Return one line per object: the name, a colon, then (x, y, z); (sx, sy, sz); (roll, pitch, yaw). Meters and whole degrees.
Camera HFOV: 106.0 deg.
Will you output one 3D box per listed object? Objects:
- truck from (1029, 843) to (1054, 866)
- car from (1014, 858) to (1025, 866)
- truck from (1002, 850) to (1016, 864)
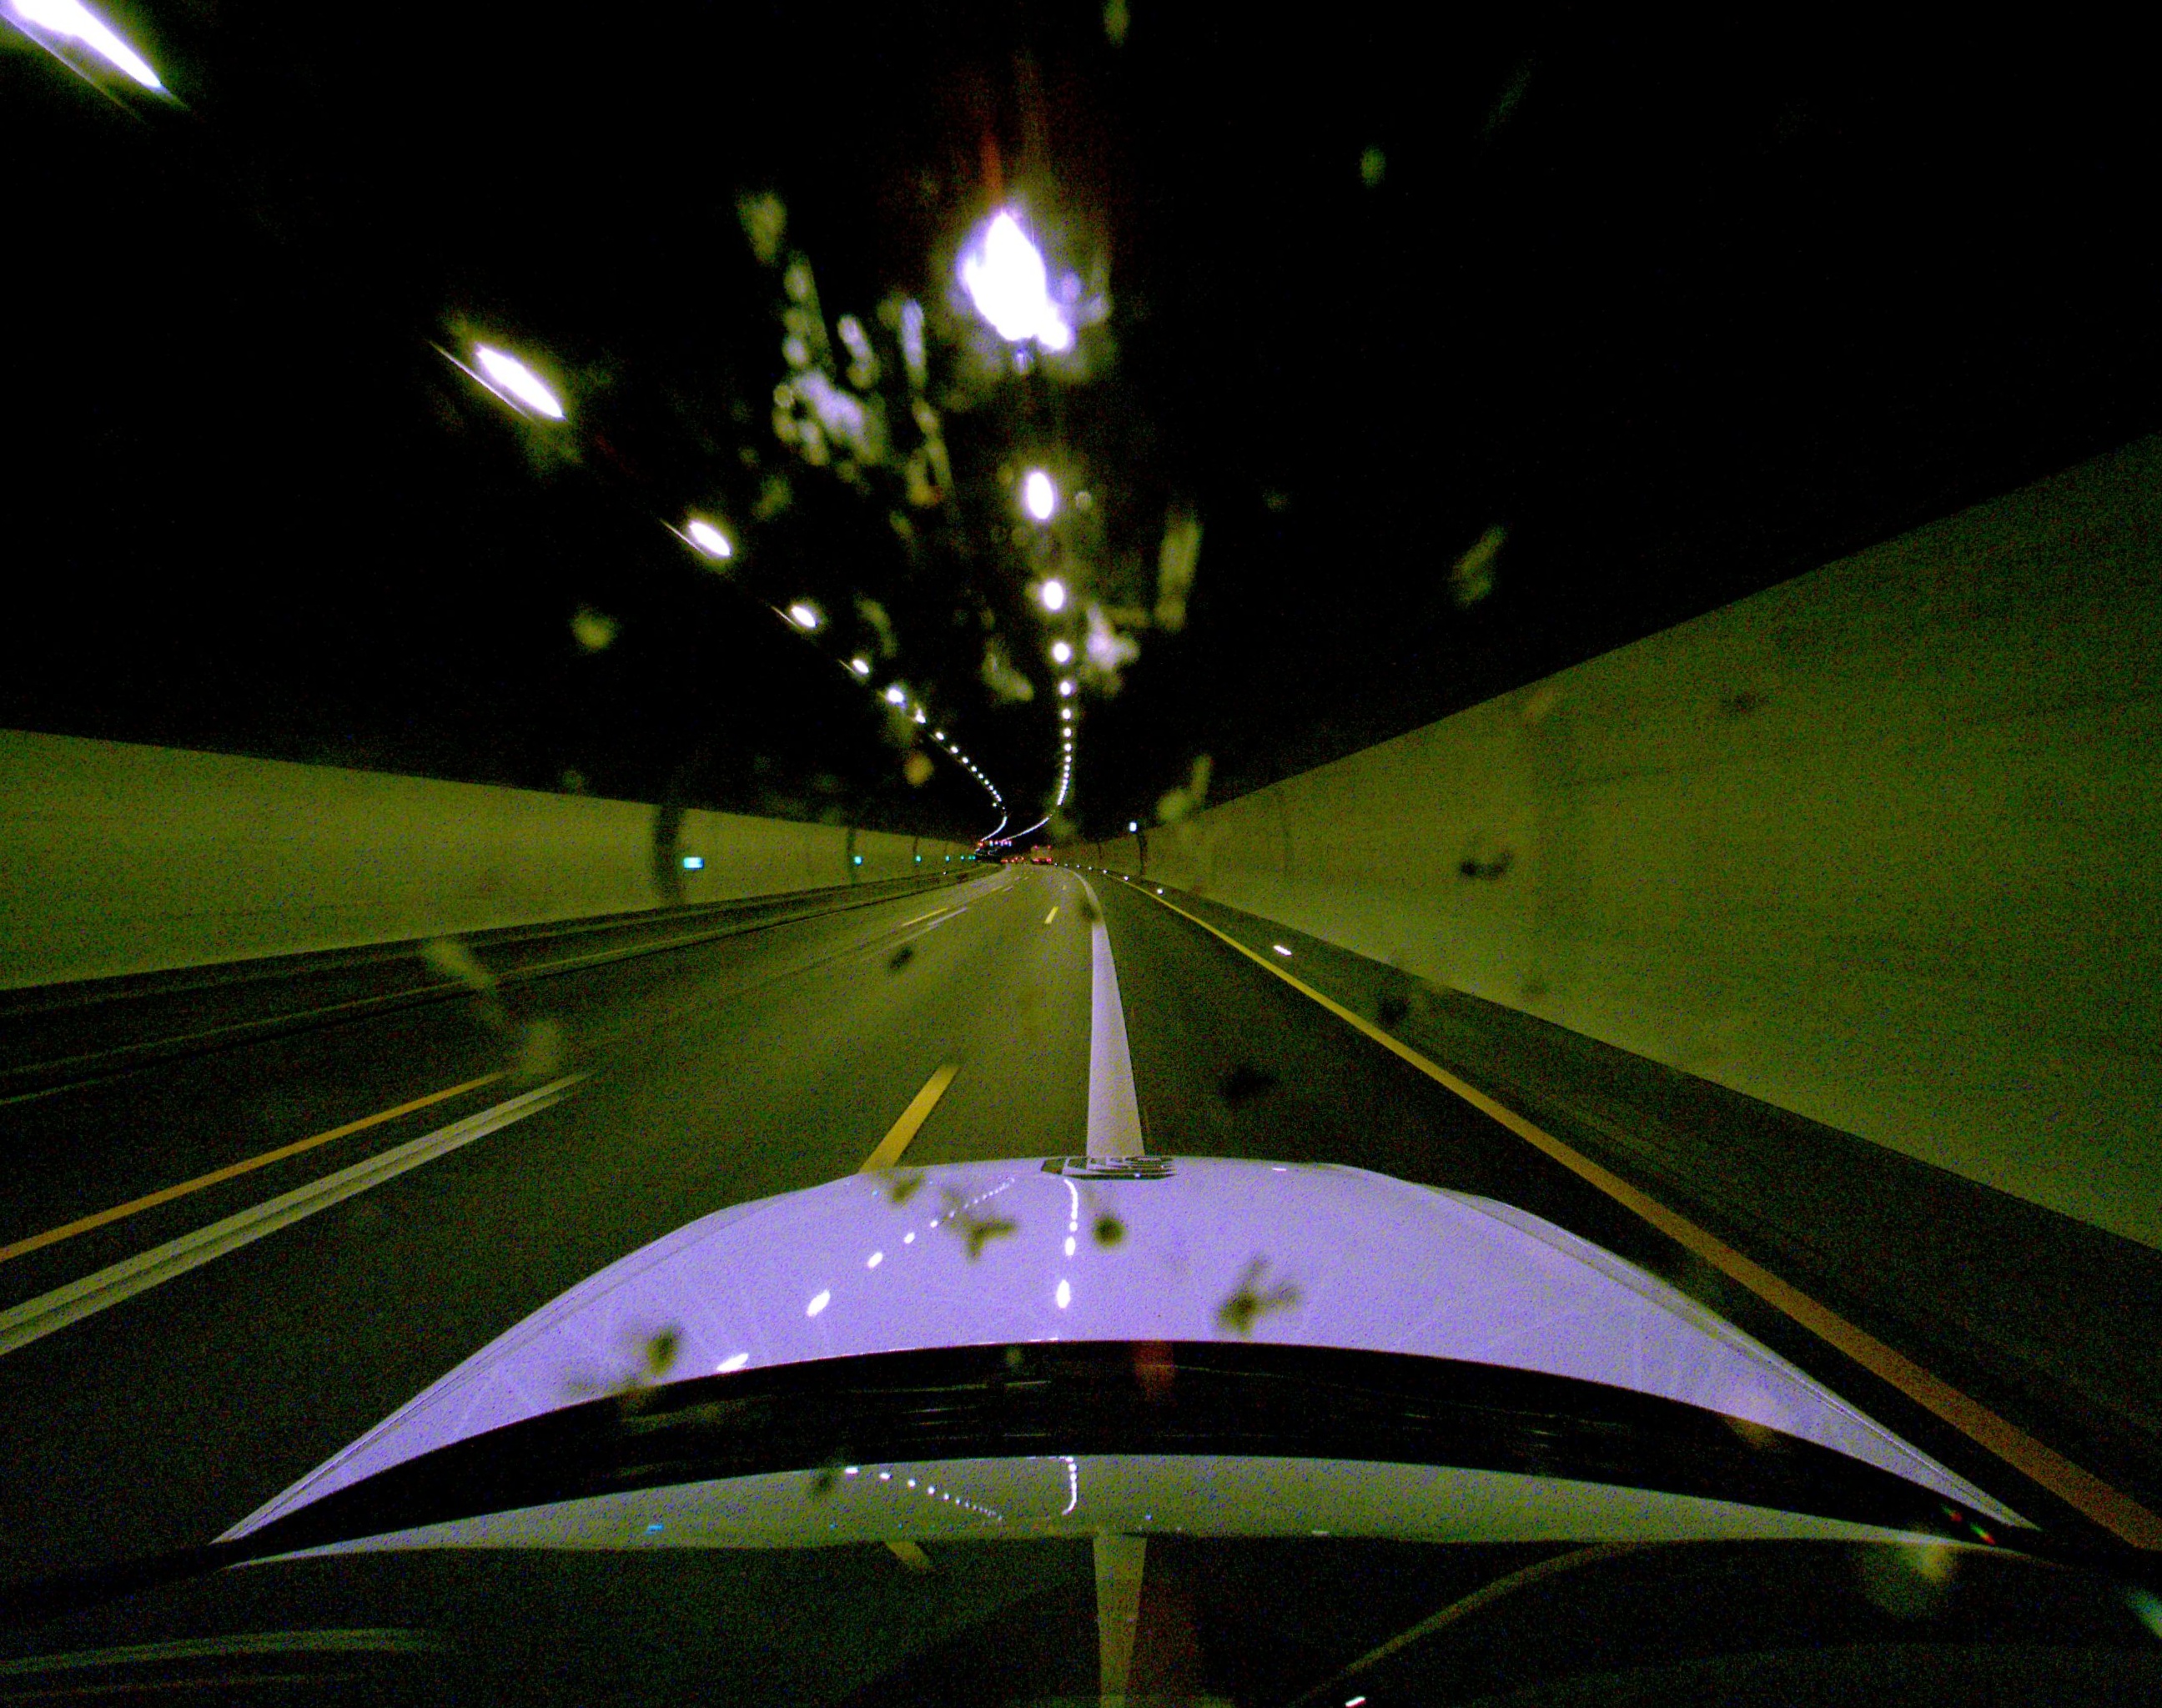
truck: (-7.711, 0.034, 158.171); (3.474, 4.316, 10.915); (1, 0, -10)
car: (-12.800, 1.623, 169.234); (1.994, 1.582, 3.986); (1, -1, -10)
truck: (-22.675, 0.973, 255.836); (3.474, 4.316, 10.915); (0, 0, -10)
